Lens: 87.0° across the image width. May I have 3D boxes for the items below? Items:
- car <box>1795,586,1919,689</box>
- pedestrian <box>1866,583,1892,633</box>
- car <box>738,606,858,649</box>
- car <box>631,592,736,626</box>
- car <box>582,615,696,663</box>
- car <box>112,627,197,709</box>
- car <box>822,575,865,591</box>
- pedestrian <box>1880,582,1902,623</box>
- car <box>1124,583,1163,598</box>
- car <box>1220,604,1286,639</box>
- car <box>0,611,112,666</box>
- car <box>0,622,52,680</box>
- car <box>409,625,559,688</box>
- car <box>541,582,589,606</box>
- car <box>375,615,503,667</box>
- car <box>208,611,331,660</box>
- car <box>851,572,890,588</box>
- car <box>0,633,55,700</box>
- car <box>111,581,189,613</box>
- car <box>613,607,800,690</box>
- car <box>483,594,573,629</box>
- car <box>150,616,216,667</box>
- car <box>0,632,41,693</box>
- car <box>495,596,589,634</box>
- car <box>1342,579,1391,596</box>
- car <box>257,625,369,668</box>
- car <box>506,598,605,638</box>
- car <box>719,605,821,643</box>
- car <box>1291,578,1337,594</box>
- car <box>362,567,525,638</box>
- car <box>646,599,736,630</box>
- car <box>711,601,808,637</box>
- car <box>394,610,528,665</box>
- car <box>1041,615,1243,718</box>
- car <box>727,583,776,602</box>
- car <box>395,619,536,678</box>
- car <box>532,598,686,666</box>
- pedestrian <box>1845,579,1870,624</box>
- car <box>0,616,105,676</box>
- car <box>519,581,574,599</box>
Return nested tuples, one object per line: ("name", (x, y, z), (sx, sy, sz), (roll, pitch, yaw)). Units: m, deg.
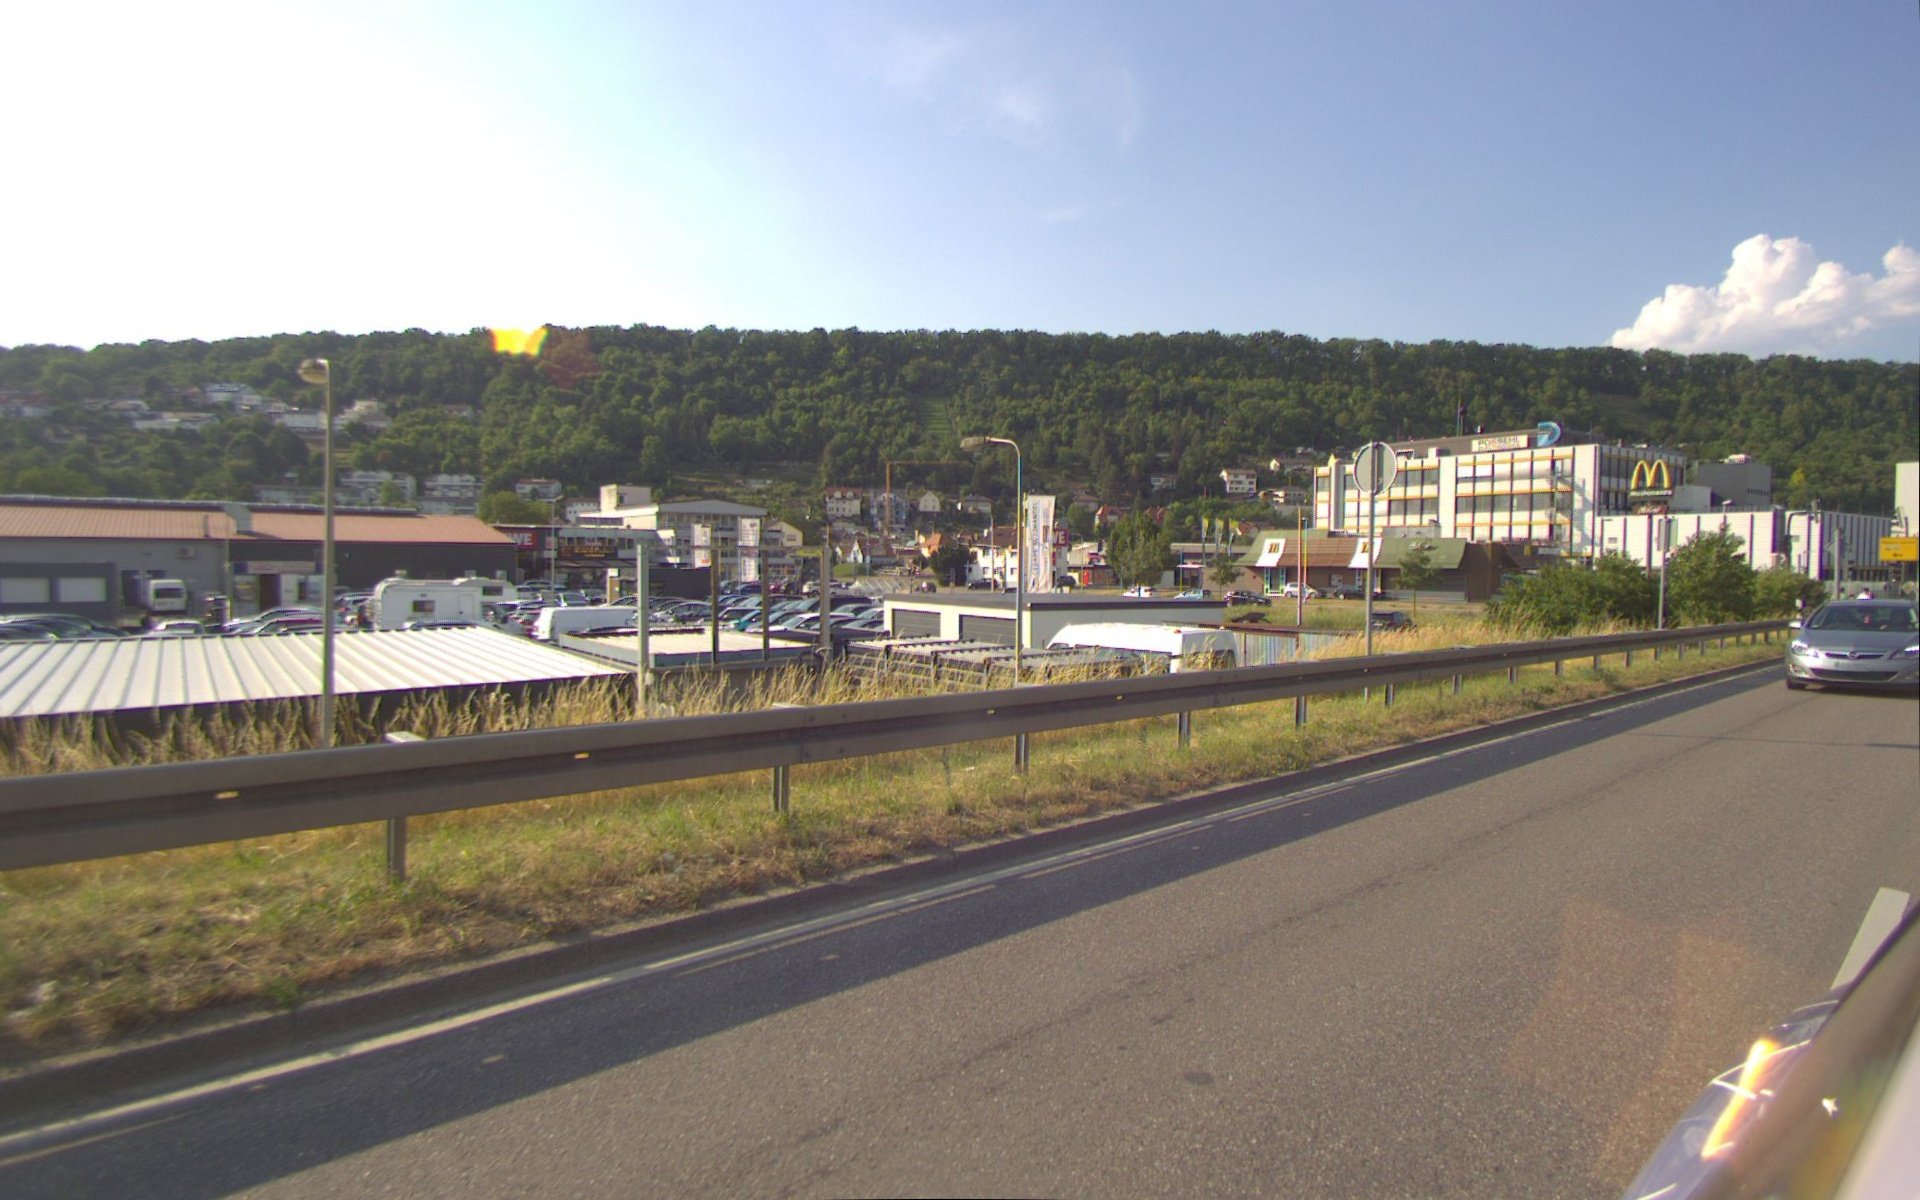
("car", (14.859, 0.517, 16.185), (3.816, 1.408, 1.690), (-2, 2, -41))
("pedestrian", (35.738, 0.293, 39.355), (0.847, 1.906, 0.619), (-1, 3, -43))
("car", (-6.811, 1.107, 42.810), (4.740, 1.585, 1.759), (-2, 1, -38))
("car", (-15.052, 0.468, 55.011), (5.365, 1.710, 1.765), (-1, 1, -19))
("car", (-11.570, 1.361, 36.491), (3.600, 1.522, 1.771), (-2, 1, -30))
("car", (-23.309, 1.897, 29.379), (1.797, 2.039, 3.646), (-1, 1, -37))
("car", (-12.187, -1.801, 105.818), (4.267, 1.582, 1.834), (-2, 3, -43))
("pedestrian", (38.248, 0.111, 41.573), (0.572, 1.634, 0.613), (3, 3, 44))
("car", (18.239, -0.965, 100.520), (1.658, 1.438, 3.652), (-2, 1, -36))
("car", (16.324, 1.160, 56.277), (1.833, 1.723, 4.064), (3, 4, 44))
("car", (-31.742, 1.290, 34.735), (1.751, 1.705, 3.641), (-1, 1, 26))
("car", (-28.617, 1.516, 28.818), (1.662, 1.589, 3.747), (-1, 1, 23))
("car", (-14.864, 1.709, 31.684), (3.927, 1.660, 1.760), (-2, 1, -38))
("car", (-25.974, -0.369, 66.499), (1.701, 1.527, 3.993), (-1, 0, -41))
("car", (-19.220, 1.464, 37.377), (3.927, 1.660, 1.760), (-2, 1, -38))
("car", (-25.651, 1.275, 37.709), (3.367, 1.636, 1.810), (-1, 1, -18))
("car", (-9.760, -2.170, 110.813), (3.933, 1.676, 1.788), (-2, 1, -42))
("car", (-24.777, 1.697, 24.646), (1.662, 1.589, 3.747), (-1, 1, 23))
("car", (-53.501, -0.212, 66.838), (3.931, 2.039, 1.996), (-2, 1, -42))
("car", (-7.011, 1.273, 28.264), (4.740, 1.976, 1.759), (-2, 1, -38))
("car", (-21.865, 0.565, 51.401), (1.709, 1.649, 4.158), (-1, 1, 25))
("car", (-29.112, 1.517, 37.998), (1.614, 1.689, 3.650), (-1, 1, -33))
("car", (-26.885, 1.738, 26.550), (1.662, 1.589, 3.747), (-1, 1, 23))
("car", (-20.010, 0.682, 48.621), (1.709, 1.649, 4.158), (-1, 1, 25))
("car", (38.920, -1.212, 96.872), (1.828, 1.475, 3.997), (-2, 3, -39))
("car", (-21.072, 1.490, 33.063), (2.810, 1.243, 1.363), (-1, 1, -18))
("car", (-18.441, 0.773, 46.308), (1.709, 1.649, 4.158), (-1, 1, 25))
("car", (-8.907, 1.090, 47.406), (4.388, 1.585, 1.764), (-1, 1, -25))
("car", (35.337, -1.388, 101.194), (1.828, 1.475, 3.996), (-2, 3, -39))
("car", (-20.035, 0.027, 39.414), (5.370, 2.581, 1.759), (-2, 1, -38))
("car", (-13.927, 0.737, 52.608), (4.387, 1.478, 1.764), (-1, 1, -12))
("car", (-9.824, 0.917, 49.547), (4.386, 1.585, 1.765), (-1, 1, -20))
("car", (-17.481, 1.260, 35.515), (3.927, 1.660, 1.760), (-2, 1, -38))
("car", (3.759, 1.304, 21.415), (1.802, 1.838, 3.996), (-2, 1, -39))
("car", (-19.788, -0.730, 96.256), (4.267, 1.582, 1.834), (-2, 3, -43))
("car", (-16.333, 1.541, 33.498), (3.927, 1.660, 1.760), (-2, 1, -38))
("car", (-13.167, 1.127, 38.180), (5.201, 2.274, 1.759), (-2, 1, -38))
("pedestrian", (36.025, 0.064, 40.603), (0.527, 1.770, 0.533), (-1, 5, -37))
("car", (-29.906, 1.458, 32.309), (1.755, 1.705, 3.632), (0, 1, 32))
("car", (-39.569, -0.987, 96.860), (4.508, 1.607, 1.834), (-2, 3, -43))
